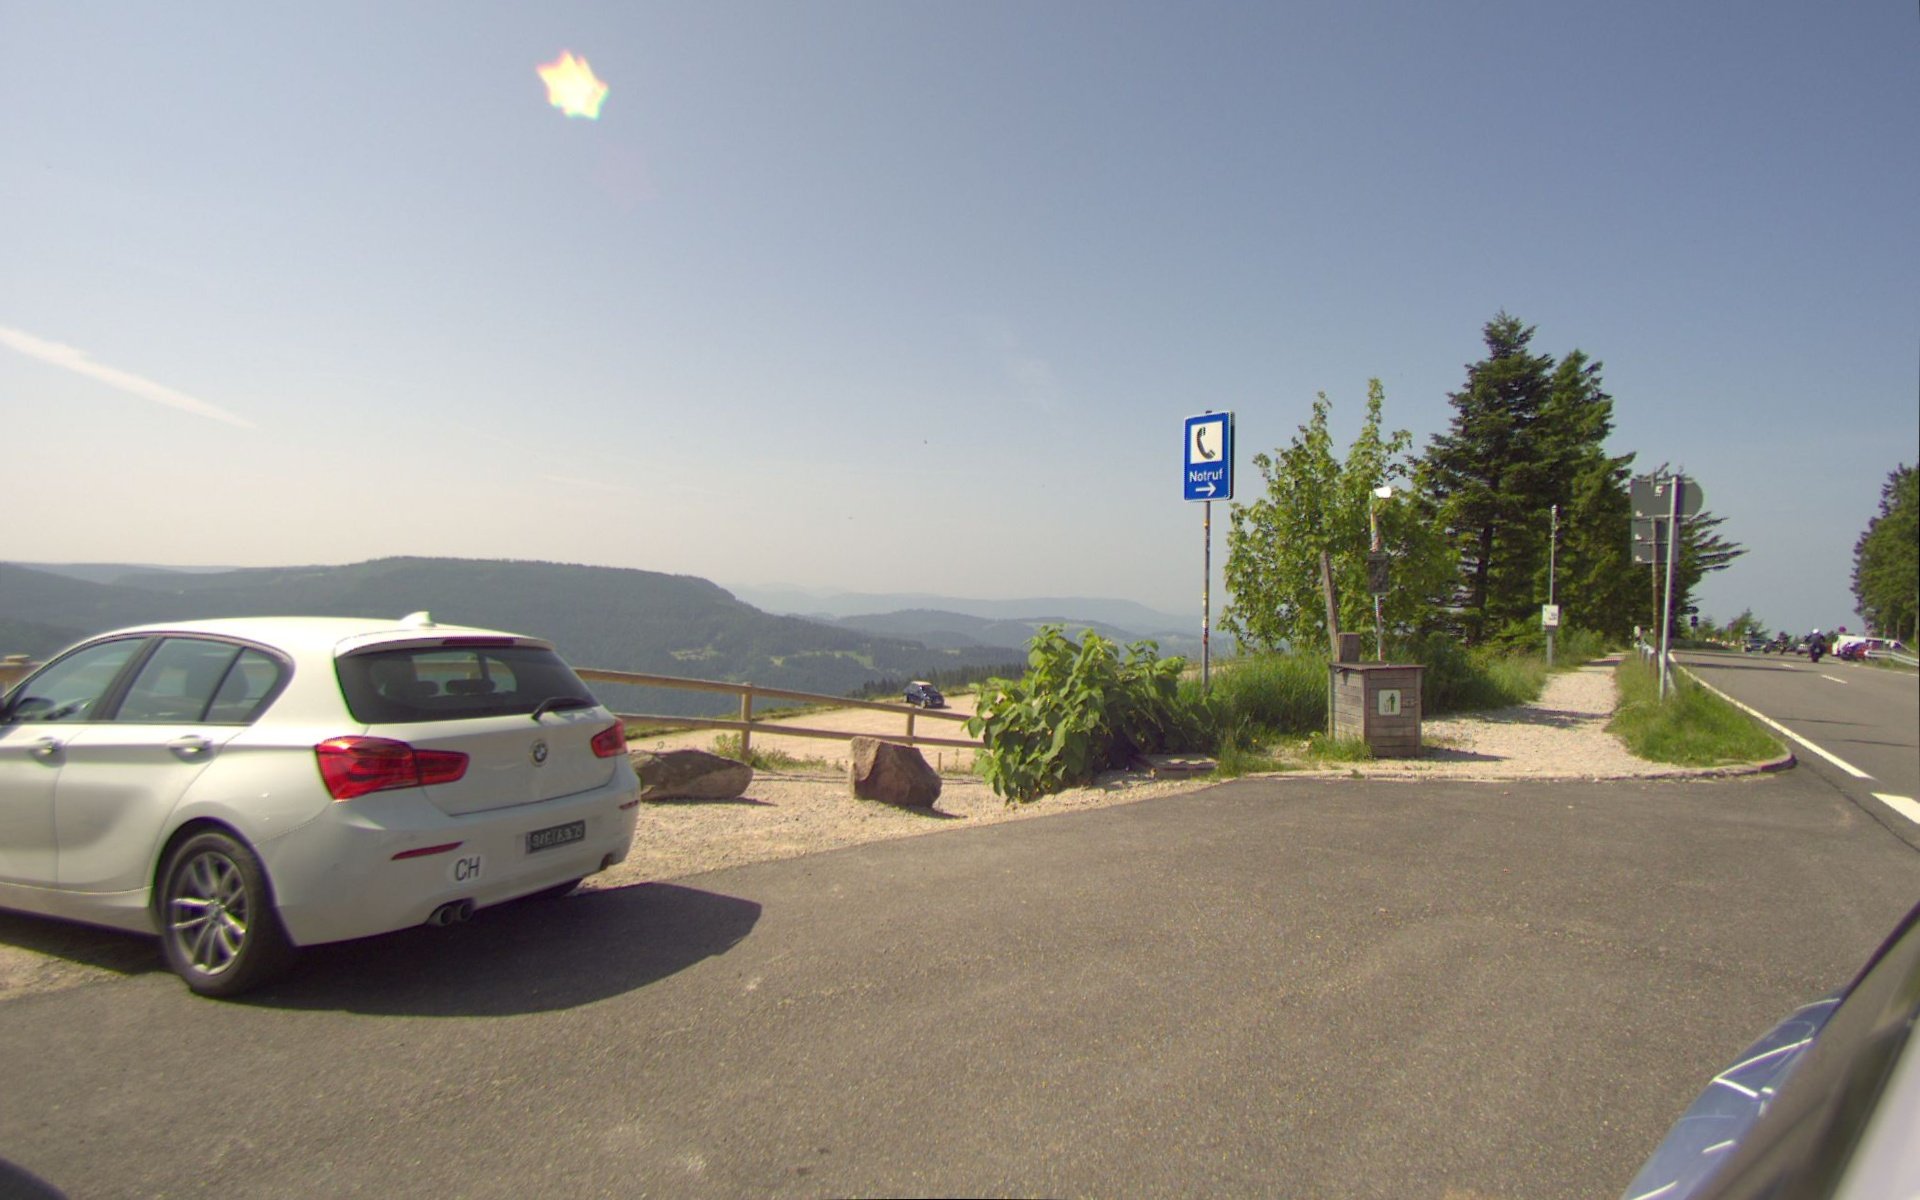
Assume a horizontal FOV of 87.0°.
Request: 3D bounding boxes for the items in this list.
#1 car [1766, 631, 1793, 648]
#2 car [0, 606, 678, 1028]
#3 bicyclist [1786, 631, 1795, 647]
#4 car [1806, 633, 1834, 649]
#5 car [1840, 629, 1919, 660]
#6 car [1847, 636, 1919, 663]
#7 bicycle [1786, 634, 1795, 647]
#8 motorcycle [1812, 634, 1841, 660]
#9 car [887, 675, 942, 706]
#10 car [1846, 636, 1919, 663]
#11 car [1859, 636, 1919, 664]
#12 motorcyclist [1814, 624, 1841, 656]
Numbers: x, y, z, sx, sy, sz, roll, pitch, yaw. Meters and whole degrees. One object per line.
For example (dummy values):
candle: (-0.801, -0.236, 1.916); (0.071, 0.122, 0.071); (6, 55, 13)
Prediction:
car: (87.193, 4.233, 107.658); (1.993, 1.615, 3.940); (4, 2, 41)
car: (-3.500, 0.747, 4.926); (3.953, 1.403, 1.644); (-1, 0, 23)
bicyclist: (80.978, 3.775, 98.643); (0.545, 1.547, 0.668); (4, 1, 44)
car: (95.942, 4.536, 112.909); (1.995, 1.615, 3.935); (5, 2, 45)
car: (71.987, 3.438, 78.946); (4.704, 1.904, 1.908); (6, 2, 35)
car: (69.673, 3.703, 76.087); (4.220, 1.543, 1.908); (6, 2, 35)
bicycle: (80.880, 3.923, 98.549); (0.545, 1.242, 1.829); (4, 1, 43)
motorcycle: (42.626, 2.305, 49.784); (0.837, 1.109, 2.155); (5, 3, 35)
car: (-3.093, 6.137, 68.663); (3.512, 1.686, 1.774); (3, 0, 43)
car: (64.564, 3.450, 70.572); (3.908, 1.390, 1.908); (6, 2, 35)
car: (63.458, 3.394, 68.146); (4.145, 1.528, 1.904); (6, 2, 39)
motorcyclist: (42.717, 1.975, 49.864); (0.837, 1.458, 0.992); (5, 3, 36)
